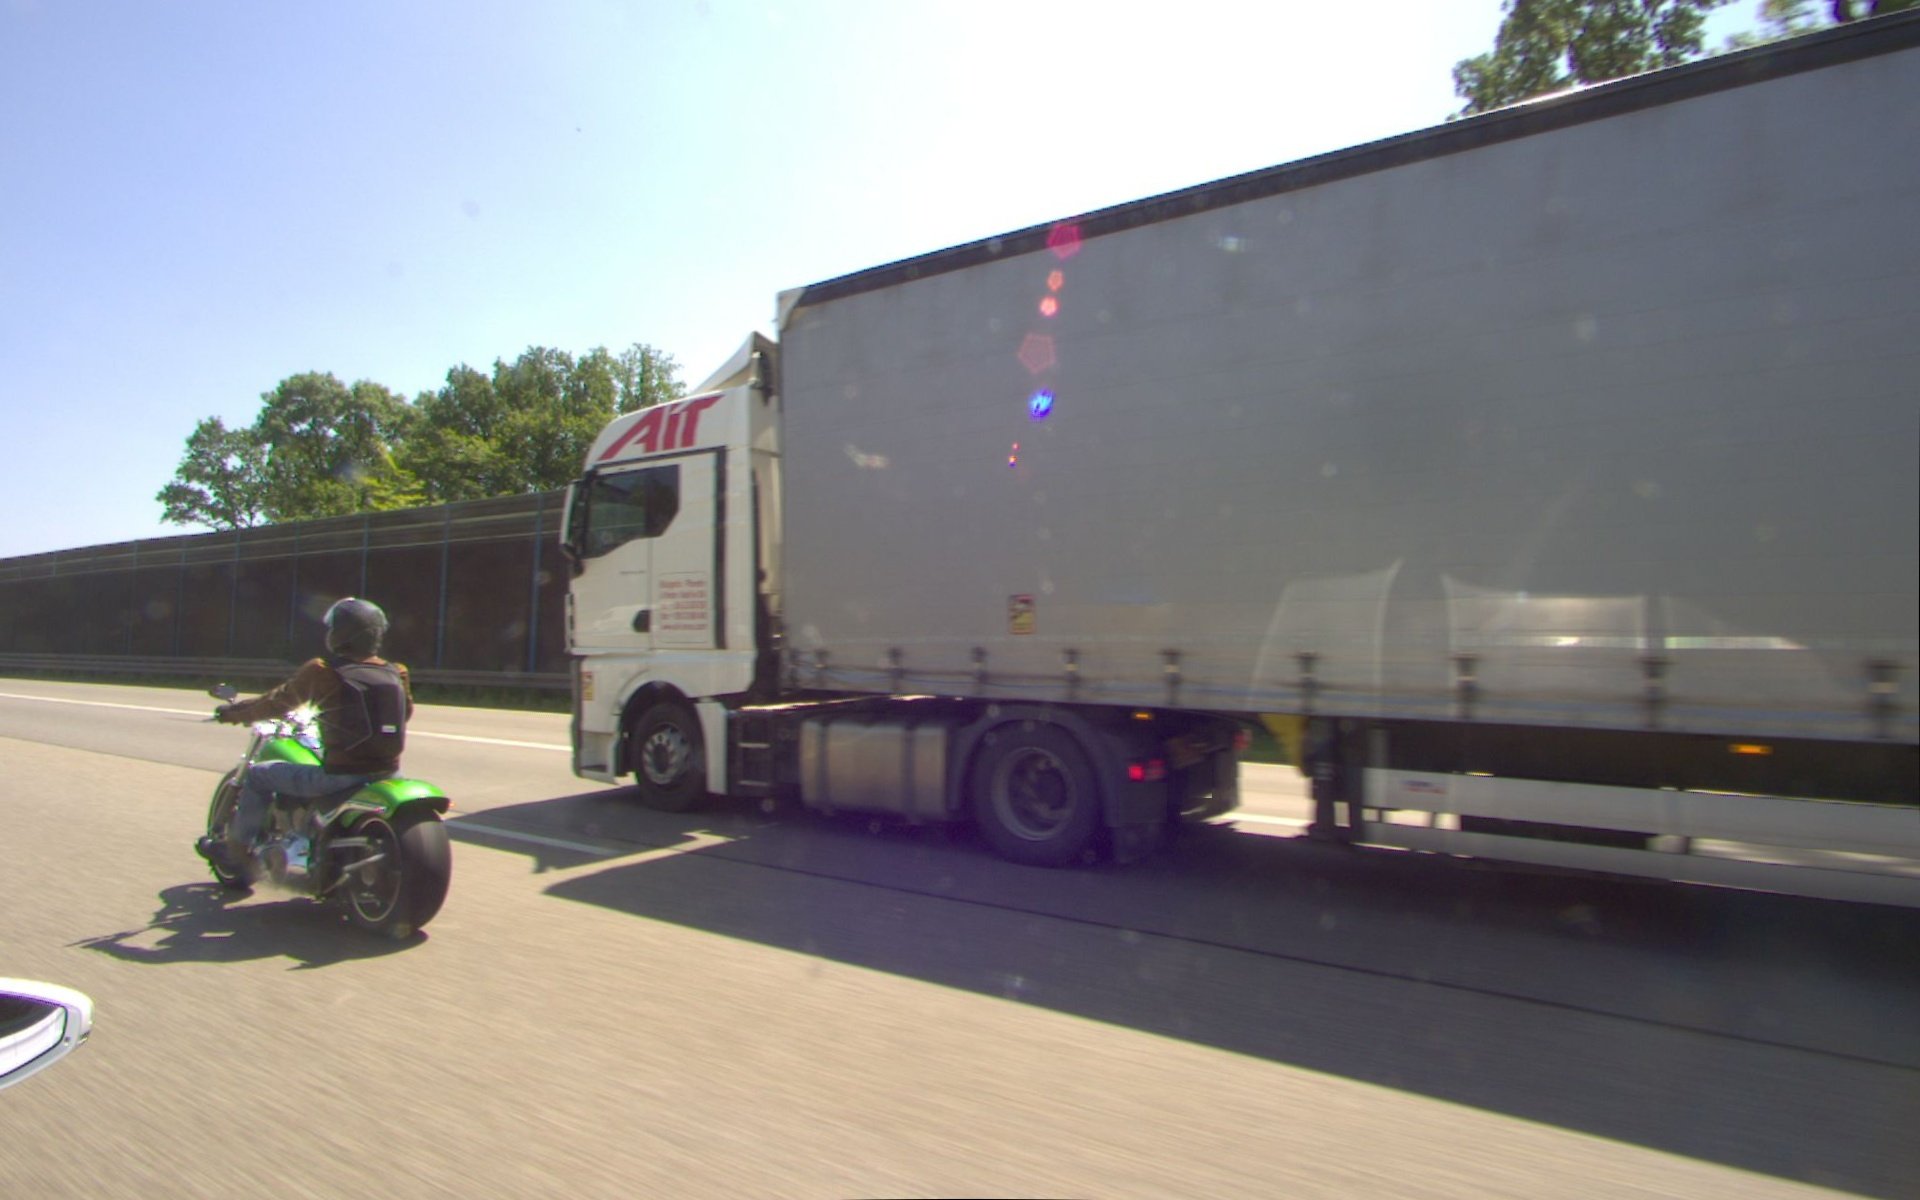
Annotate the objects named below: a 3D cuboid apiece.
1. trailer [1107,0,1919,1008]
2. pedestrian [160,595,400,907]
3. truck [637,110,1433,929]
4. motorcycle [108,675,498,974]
[{"bbox_3d":[7.165,-0.507,3.266,13.401,4.142,2.593,-2,-2,33],"label":"trailer"},{"bbox_3d":[-3.607,0.744,5.348,0.629,1.497,0.850,0,-2,32],"label":"pedestrian"},{"bbox_3d":[0.419,-0.318,7.632,5.474,4.142,2.594,-1,-2,32],"label":"truck"},{"bbox_3d":[-3.508,1.037,5.280,2.244,1.196,0.858,-1,-2,32],"label":"motorcycle"}]
